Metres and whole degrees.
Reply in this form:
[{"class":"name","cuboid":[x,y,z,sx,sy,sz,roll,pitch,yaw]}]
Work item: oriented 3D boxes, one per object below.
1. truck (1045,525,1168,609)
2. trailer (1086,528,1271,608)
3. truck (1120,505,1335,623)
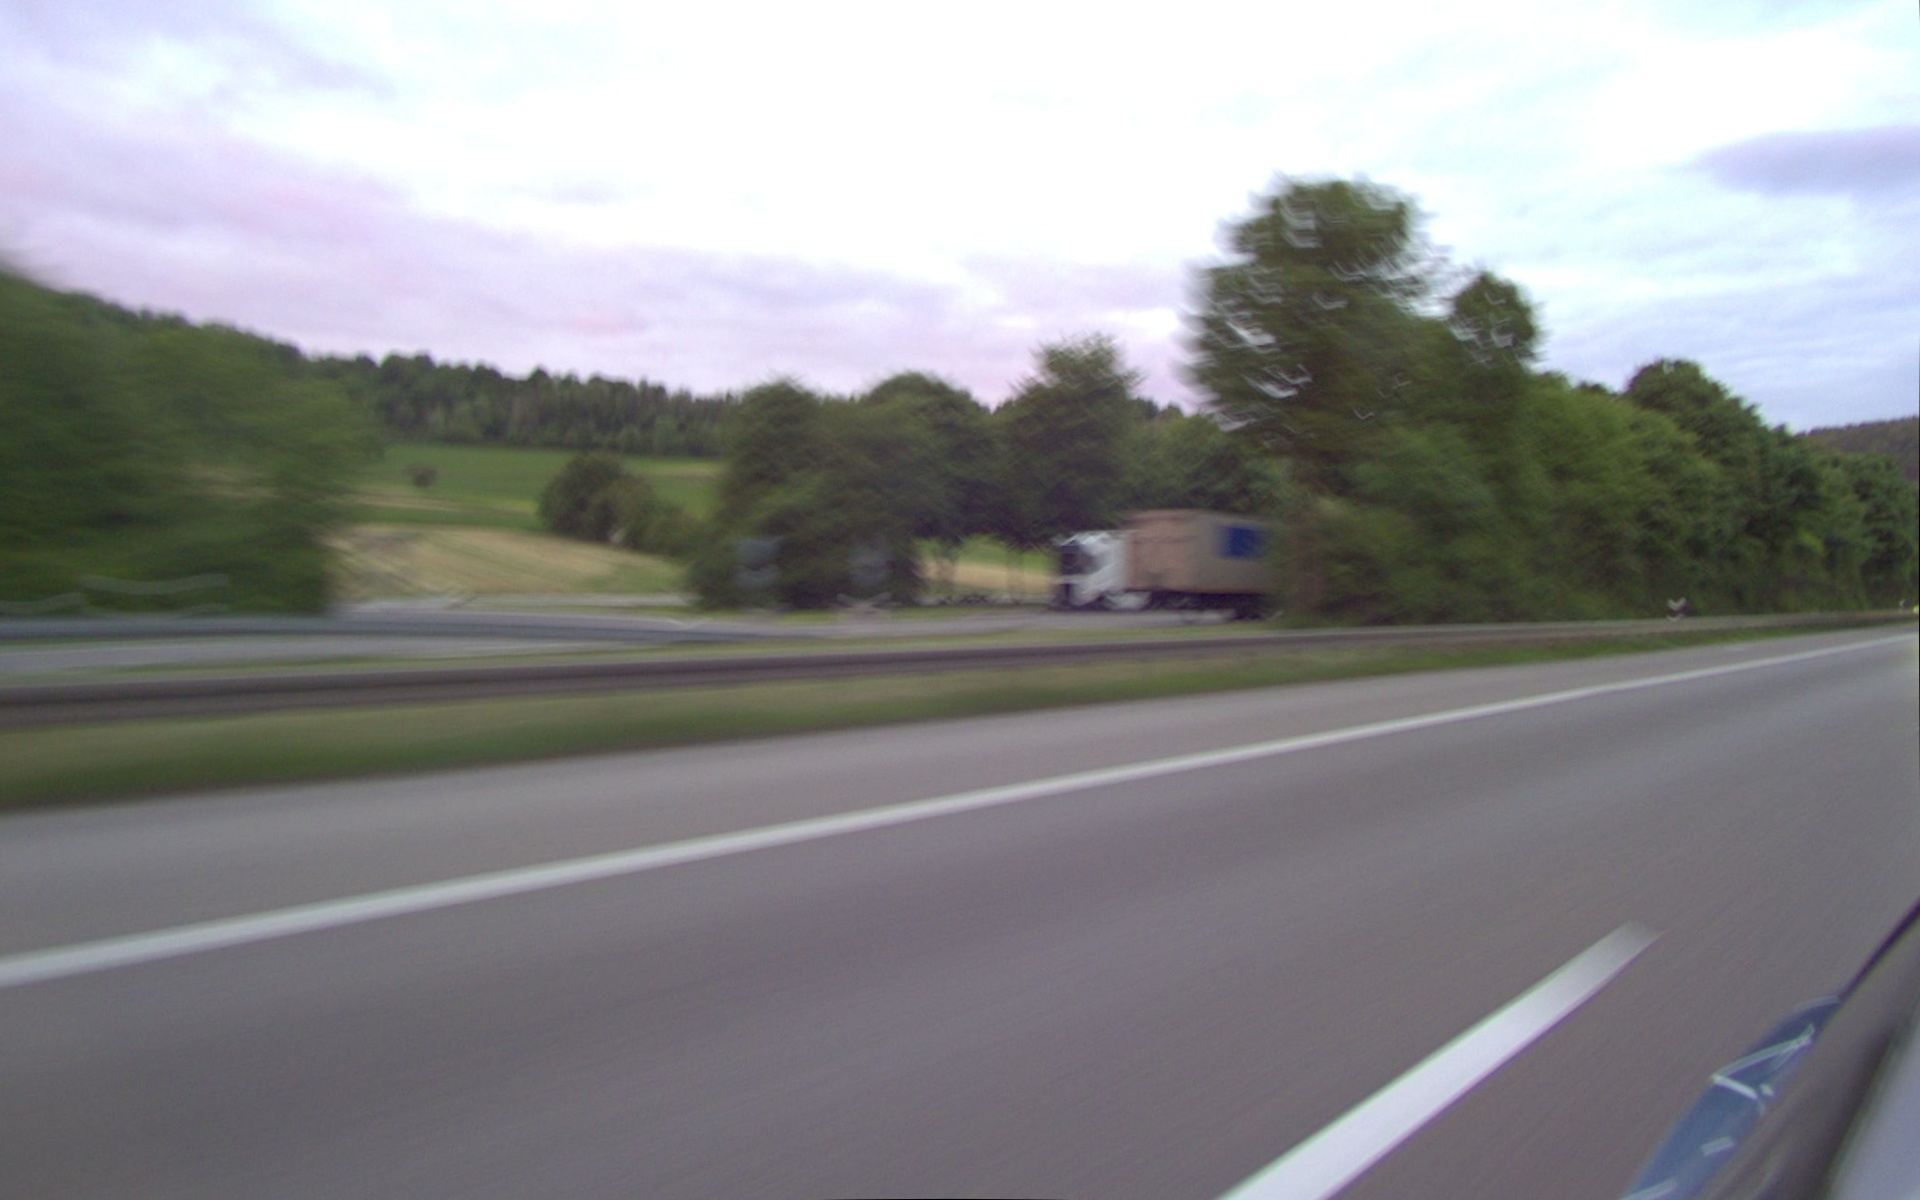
[{"class":"truck","cuboid":[7.491,-1.643,51.363,6.277,3.964,2.842,0,2,-43]},{"class":"trailer","cuboid":[12.379,-1.694,55.941,13.348,3.964,2.842,-1,2,-43]},{"class":"truck","cuboid":[10.721,-1.329,39.265,2.838,3.964,11.804,3,2,43]}]
